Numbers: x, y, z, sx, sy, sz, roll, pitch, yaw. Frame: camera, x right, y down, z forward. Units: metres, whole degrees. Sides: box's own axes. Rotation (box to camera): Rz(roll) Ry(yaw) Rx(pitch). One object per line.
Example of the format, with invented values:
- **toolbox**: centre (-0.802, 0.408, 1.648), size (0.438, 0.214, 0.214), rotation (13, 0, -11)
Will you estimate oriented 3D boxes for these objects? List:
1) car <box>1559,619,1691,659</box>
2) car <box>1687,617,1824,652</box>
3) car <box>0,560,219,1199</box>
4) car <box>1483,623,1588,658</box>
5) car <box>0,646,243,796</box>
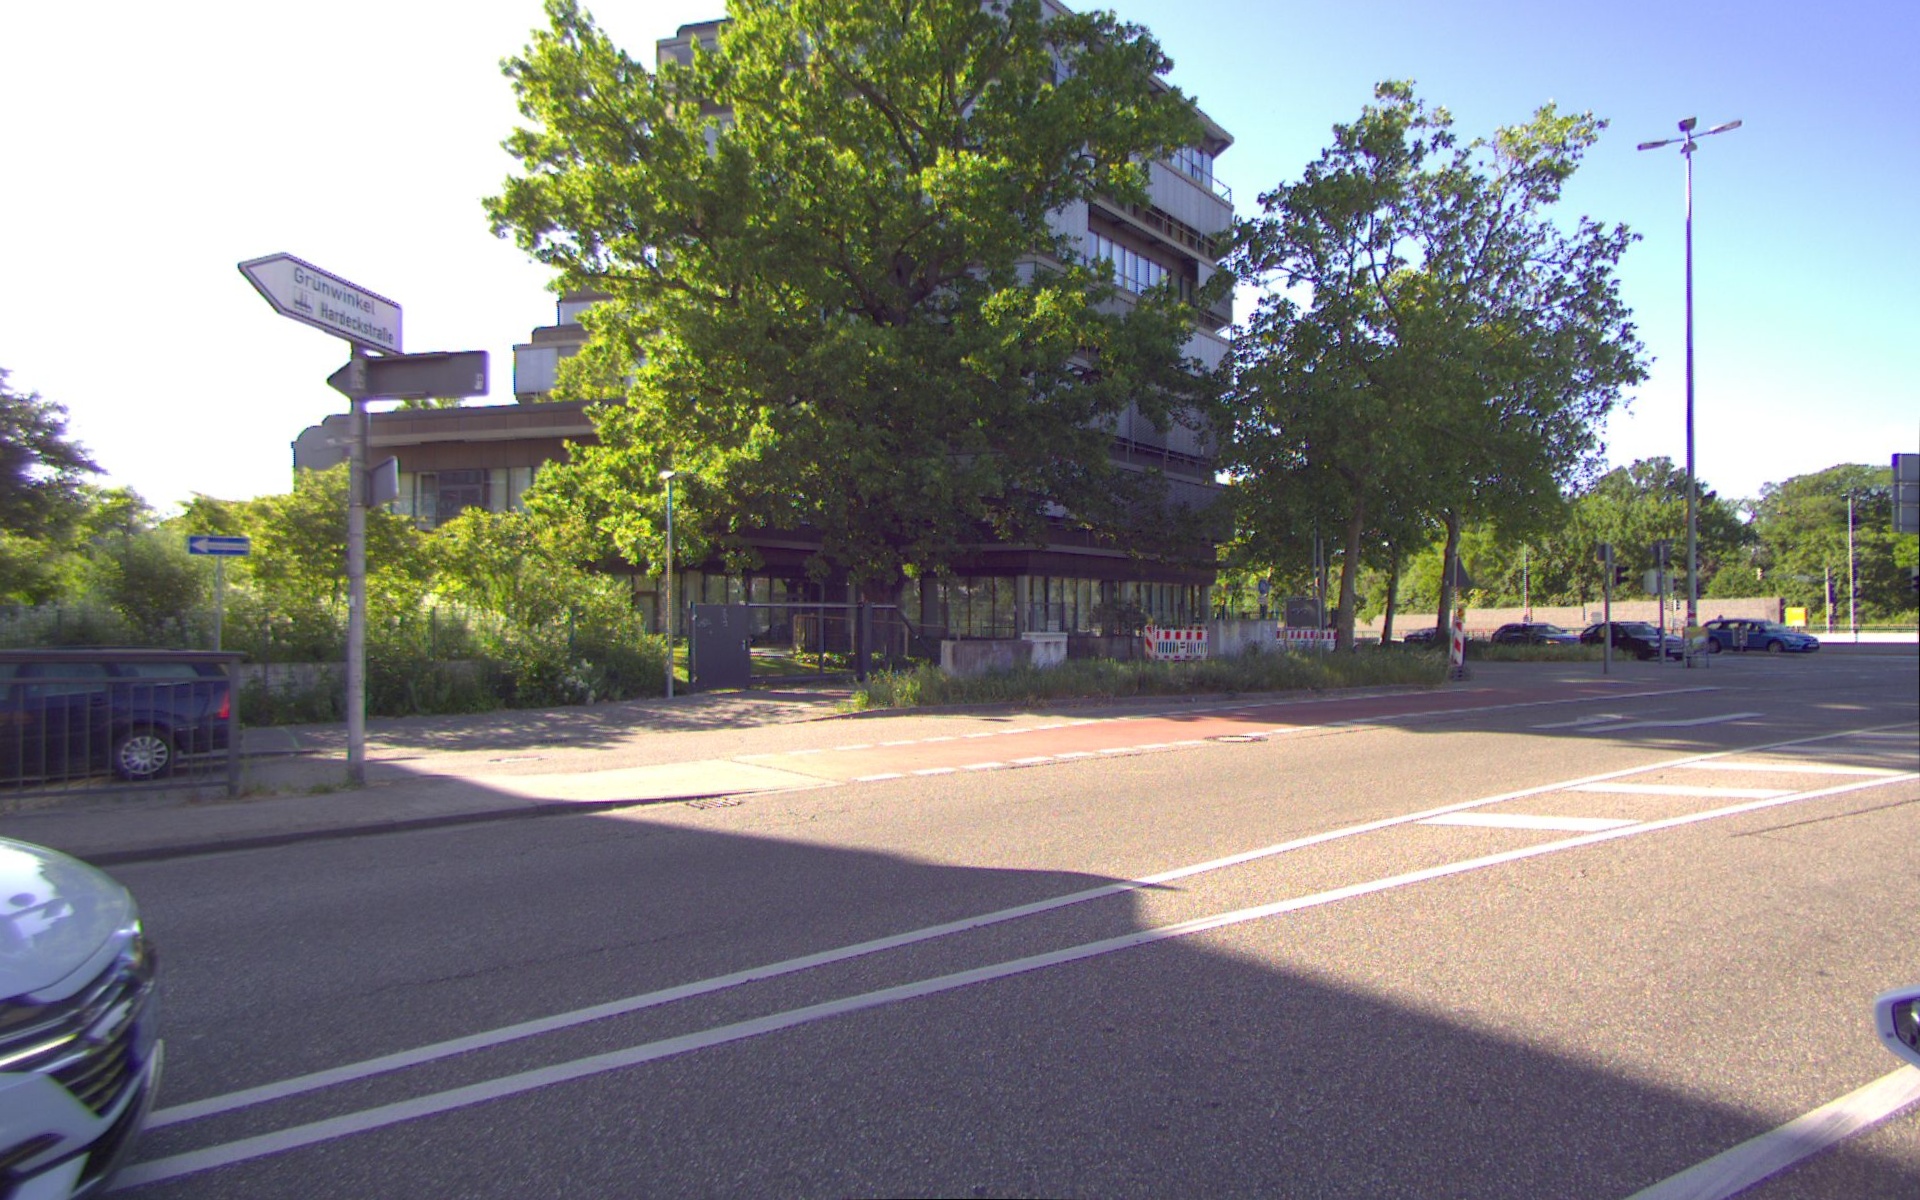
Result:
- **car**: centre (25.570, 1.479, 38.811), size (1.792, 1.457, 4.446), rotation (0, -2, -7)
- **car**: centre (34.262, 1.475, 43.412), size (1.796, 1.457, 4.437), rotation (0, -2, -16)
- **car**: centre (-3.853, 0.625, 1.319), size (4.461, 1.555, 1.833), rotation (3, -2, -34)
- **car**: centre (25.861, 1.806, 45.293), size (1.792, 1.457, 4.446), rotation (0, -2, -7)
- **car**: centre (-10.769, 1.325, 11.244), size (4.411, 1.523, 1.806), rotation (1, -2, -38)
